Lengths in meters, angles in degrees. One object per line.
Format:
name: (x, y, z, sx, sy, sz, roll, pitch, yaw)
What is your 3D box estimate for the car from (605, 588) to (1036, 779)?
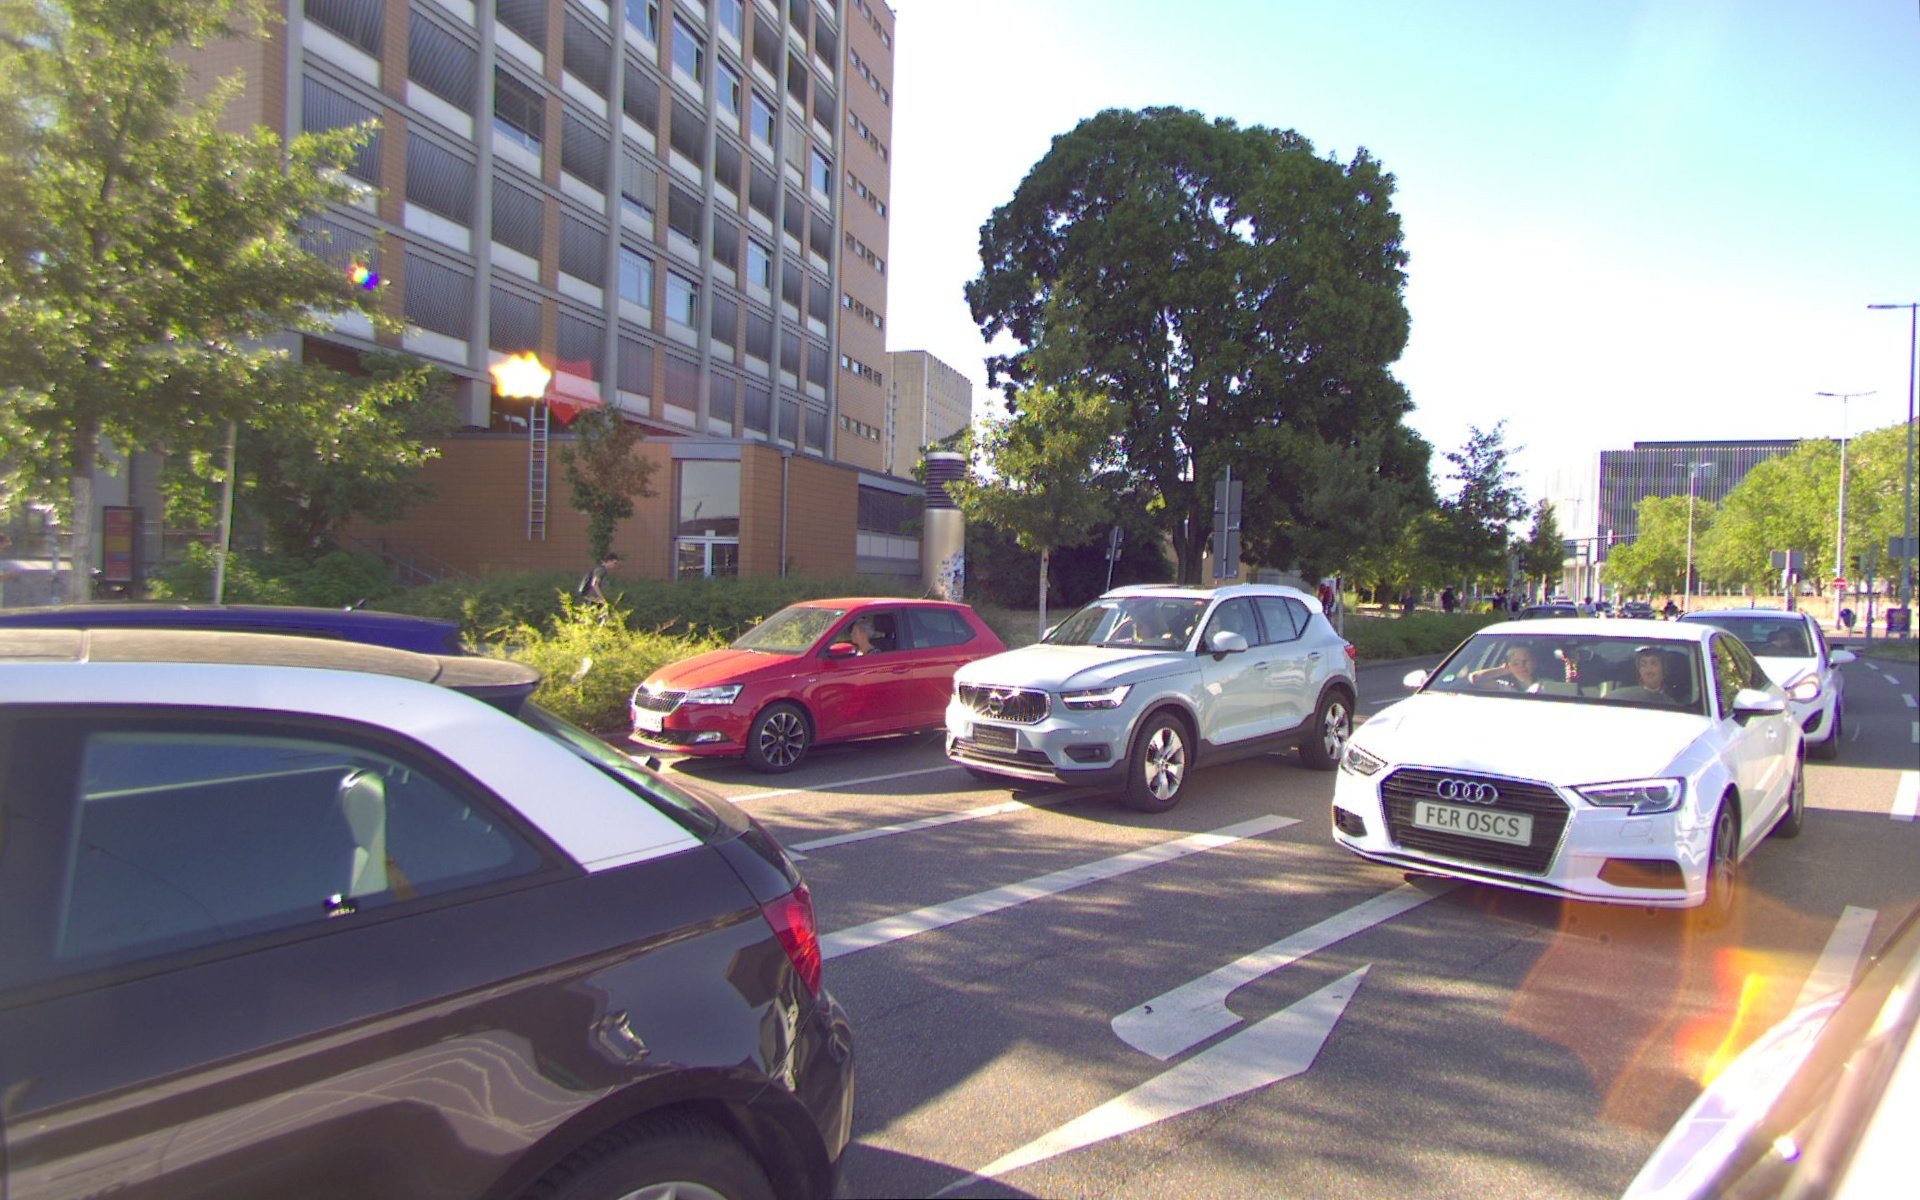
car: (-1.193, 0.633, 9.847, 3.974, 1.478, 1.625, -1, 0, -43)

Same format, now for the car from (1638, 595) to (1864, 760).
car: (8.872, 0.692, 11.228, 1.623, 1.478, 3.979, 0, 1, 43)

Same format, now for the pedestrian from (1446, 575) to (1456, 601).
pedestrian: (31.773, -0.783, 65.470, 0.543, 1.627, 0.598, 0, 0, 30)

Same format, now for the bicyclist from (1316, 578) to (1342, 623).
bicyclist: (13.145, 0.023, 36.081, 0.615, 1.580, 0.858, 0, 0, 41)

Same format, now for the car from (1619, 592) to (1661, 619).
car: (41.789, 0.328, 62.274, 1.731, 1.564, 3.960, 2, 1, 29)

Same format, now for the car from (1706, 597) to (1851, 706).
car: (13.110, 0.714, 16.123, 1.622, 1.478, 3.981, 0, 1, 42)

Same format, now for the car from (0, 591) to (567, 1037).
car: (-3.727, 0.688, 3.755, 3.930, 1.422, 1.626, -1, 0, -41)

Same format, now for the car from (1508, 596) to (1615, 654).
car: (17.003, 0.652, 28.550, 1.750, 1.478, 4.123, 0, 1, 43)

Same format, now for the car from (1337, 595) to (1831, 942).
car: (3.944, 0.693, 6.122, 3.769, 1.422, 1.625, -1, 0, -43)

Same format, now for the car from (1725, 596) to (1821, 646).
car: (26.276, 0.618, 32.846, 1.741, 1.478, 4.146, 0, 0, 29)

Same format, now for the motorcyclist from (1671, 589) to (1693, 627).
motorcyclist: (30.767, 0.348, 43.123, 0.708, 1.610, 0.680, 0, 0, 40)

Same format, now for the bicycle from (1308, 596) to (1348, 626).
bicycle: (13.144, 0.369, 36.092, 0.657, 0.975, 2.005, 2, 2, 41)

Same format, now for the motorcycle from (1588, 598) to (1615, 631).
motorcycle: (26.720, 0.570, 42.157, 0.714, 1.321, 2.203, 0, 0, 39)

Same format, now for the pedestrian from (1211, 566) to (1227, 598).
pedestrian: (16.889, -1.179, 66.028, 0.917, 2.039, 0.750, 0, 0, 22)

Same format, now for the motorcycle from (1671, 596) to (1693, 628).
motorcycle: (30.898, 0.504, 43.312, 0.714, 1.321, 2.205, 0, 0, 37)

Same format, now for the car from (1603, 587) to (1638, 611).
car: (49.815, -0.090, 76.417, 1.730, 1.727, 3.962, 2, 1, 27)

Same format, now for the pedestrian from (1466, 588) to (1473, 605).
pedestrian: (52.202, -0.352, 103.707, 0.475, 1.706, 0.399, 1, 1, -41)

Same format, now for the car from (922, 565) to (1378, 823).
car: (1.772, 0.572, 8.462, 4.153, 1.641, 1.625, -1, 0, -43)

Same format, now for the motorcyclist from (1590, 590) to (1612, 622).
motorcyclist: (26.650, 0.228, 42.081, 0.714, 1.321, 0.725, 0, 0, 38)

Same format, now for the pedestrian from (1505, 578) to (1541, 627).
pedestrian: (24.100, 0.099, 43.323, 1.137, 2.039, 1.268, 0, 0, 39)

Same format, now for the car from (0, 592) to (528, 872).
car: (-5.169, 0.673, 6.088, 4.433, 1.422, 1.726, -1, 1, -41)

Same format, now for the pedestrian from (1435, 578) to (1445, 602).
pedestrian: (31.166, -0.653, 65.721, 0.543, 1.549, 0.598, 0, 0, 30)

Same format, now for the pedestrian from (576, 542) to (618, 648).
pedestrian: (-6.678, -0.093, 18.604, 0.681, 1.910, 0.465, 0, 0, -24)

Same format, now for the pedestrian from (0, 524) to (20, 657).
pedestrian: (-12.292, -0.134, 12.783, 0.592, 1.660, 0.678, 0, 4, -43)

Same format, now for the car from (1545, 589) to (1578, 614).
car: (43.131, 0.070, 72.603, 1.730, 1.727, 3.962, 2, 1, 27)

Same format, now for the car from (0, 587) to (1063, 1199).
car: (-1.787, 0.700, 1.513, 3.930, 1.422, 1.626, -1, 0, -41)

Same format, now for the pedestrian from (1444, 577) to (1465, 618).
pedestrian: (19.433, -0.110, 39.778, 0.593, 1.615, 0.586, 0, 0, 41)

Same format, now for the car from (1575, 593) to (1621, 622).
car: (36.382, 0.400, 57.676, 1.738, 1.544, 3.943, 2, 2, 39)

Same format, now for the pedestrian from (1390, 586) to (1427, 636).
pedestrian: (15.982, 0.384, 36.036, 1.005, 1.742, 0.873, 0, 0, 39)

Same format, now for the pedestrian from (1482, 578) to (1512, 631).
pedestrian: (20.842, 0.155, 39.278, 0.891, 2.039, 0.870, 0, 0, 39)
